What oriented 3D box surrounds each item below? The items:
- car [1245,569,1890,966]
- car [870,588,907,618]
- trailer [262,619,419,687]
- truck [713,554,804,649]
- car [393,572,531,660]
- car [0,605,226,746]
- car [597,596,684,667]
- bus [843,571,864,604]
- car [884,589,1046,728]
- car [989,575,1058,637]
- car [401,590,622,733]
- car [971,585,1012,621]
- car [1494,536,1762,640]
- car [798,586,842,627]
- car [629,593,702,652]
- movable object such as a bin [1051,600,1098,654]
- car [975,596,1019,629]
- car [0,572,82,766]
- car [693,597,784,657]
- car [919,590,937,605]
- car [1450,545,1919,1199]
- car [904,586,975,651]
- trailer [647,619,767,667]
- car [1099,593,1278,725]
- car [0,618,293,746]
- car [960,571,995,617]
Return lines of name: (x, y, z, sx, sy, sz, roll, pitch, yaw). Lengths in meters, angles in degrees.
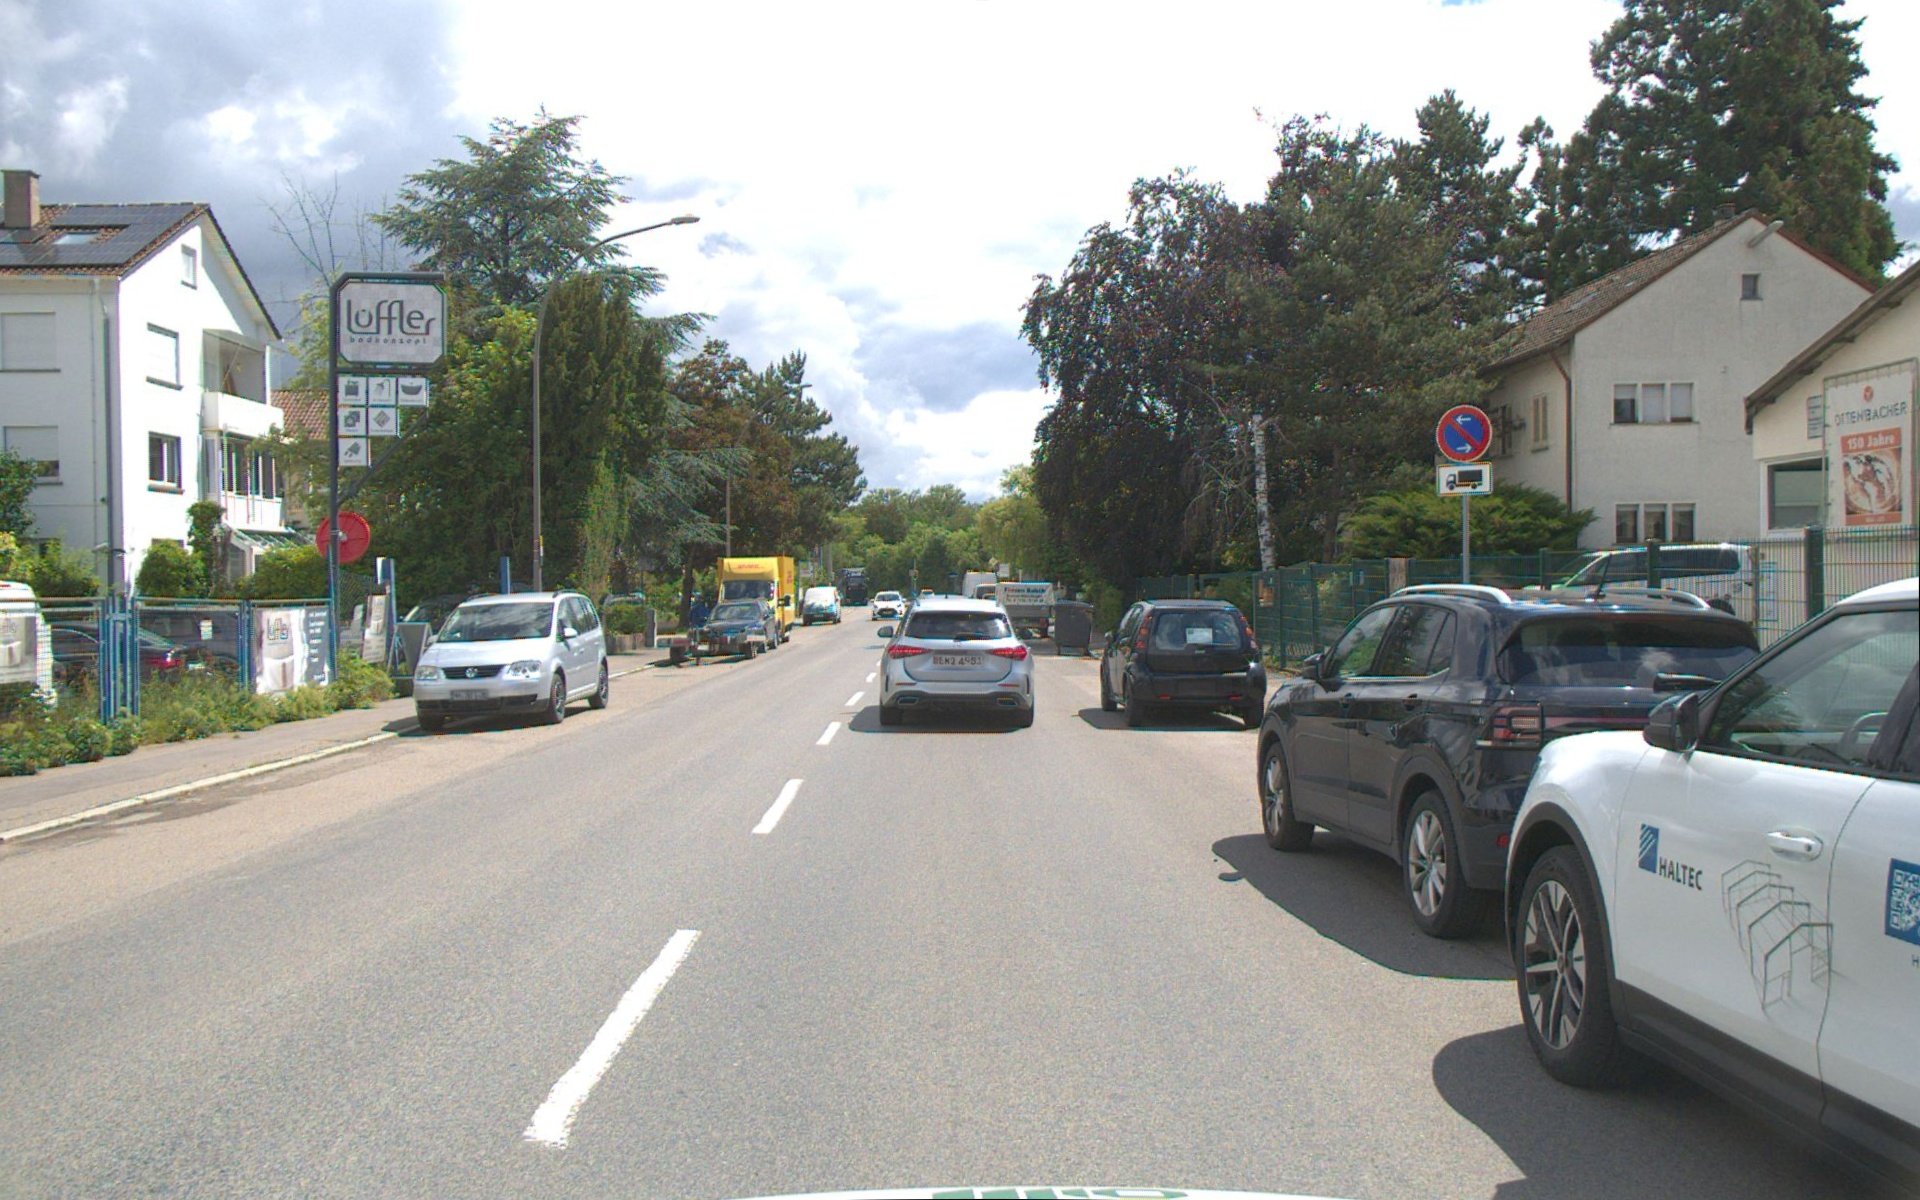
car: (2.856, 0.673, 8.817, 1.656, 1.579, 4.082, -1, 0, -5)
car: (-3.844, 0.142, 89.401, 1.895, 1.518, 4.362, -2, 0, -1)
trailer: (-12.911, 1.064, 34.775, 1.822, 1.202, 4.374, -1, 1, -3)
truck: (-6.498, 0.009, 54.186, 2.032, 2.863, 7.078, -2, 0, 0)
car: (-10.431, 0.301, 34.906, 1.955, 1.686, 3.996, -1, 1, -5)
car: (-11.015, 0.899, 19.076, 4.193, 1.511, 1.990, -1, -3, -2)
car: (-9.852, 0.936, 51.268, 1.953, 2.049, 3.999, 1, 0, -1)
bus: (-11.709, -1.363, 181.326, 1.955, 3.423, 6.973, 1, 0, -6)
car: (-0.041, 0.659, 20.228, 1.749, 1.510, 4.314, 0, 0, -3)
car: (2.130, 0.189, 57.200, 2.100, 2.018, 5.260, -1, 0, -1)
car: (-5.767, 0.721, 21.811, 1.755, 1.631, 4.362, -2, 0, -1)
car: (1.532, 0.175, 82.750, 1.749, 1.745, 4.314, 0, 0, -3)
car: (14.312, -0.265, 35.663, 4.913, 1.963, 2.001, -2, 0, 2)
car: (-7.051, 0.313, 83.504, 1.895, 1.952, 4.362, -2, 0, -1)
car: (-10.809, 0.805, 60.957, 1.953, 2.049, 3.999, 1, 0, -1)
movable object such as a bin: (2.882, 0.674, 41.762, 1.062, 1.293, 1.380, 1, 0, -1)
car: (1.716, 0.576, 77.423, 1.749, 1.510, 4.314, 0, 0, -3)
car: (-11.350, 0.735, 16.393, 4.193, 1.868, 1.990, -1, -3, -2)
car: (-6.136, 0.702, 46.284, 2.033, 1.503, 4.455, -2, 0, -2)
car: (-3.396, -0.278, 175.774, 1.721, 1.585, 3.996, 0, 0, -5)
car: (2.811, 0.646, 3.969, 1.756, 1.579, 4.572, -2, 0, -2)
car: (-0.564, 0.445, 42.785, 1.720, 1.585, 3.998, 0, 0, -2)
trailer: (-5.935, 0.982, 39.499, 2.183, 0.941, 5.945, 0, 0, -2)
car: (2.762, 0.667, 20.773, 1.655, 1.476, 3.848, -1, 0, -1)
car: (-11.128, 1.077, 21.381, 4.193, 1.511, 1.990, -1, -3, -2)
car: (0.961, -0.312, 94.822, 1.749, 2.562, 4.314, 0, -1, -3)
